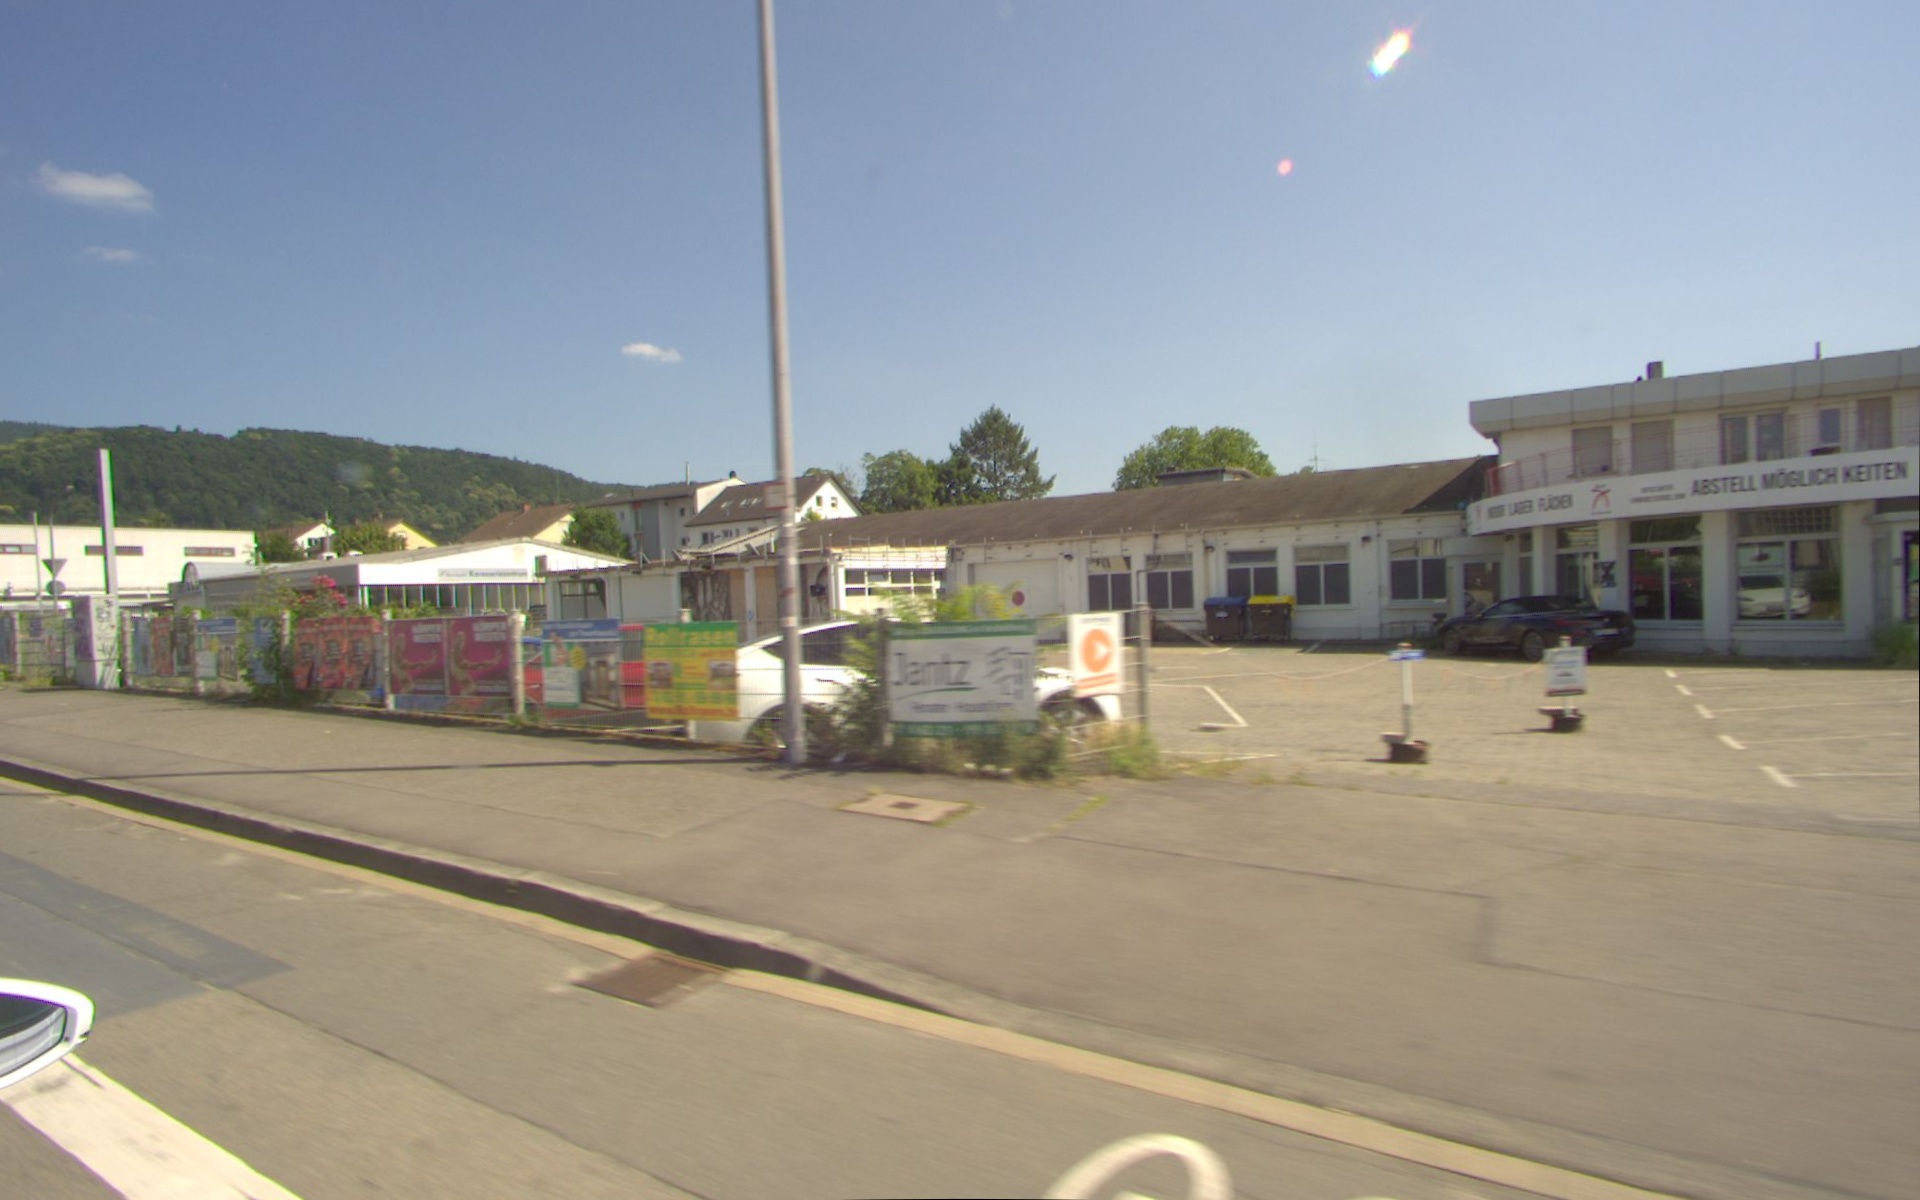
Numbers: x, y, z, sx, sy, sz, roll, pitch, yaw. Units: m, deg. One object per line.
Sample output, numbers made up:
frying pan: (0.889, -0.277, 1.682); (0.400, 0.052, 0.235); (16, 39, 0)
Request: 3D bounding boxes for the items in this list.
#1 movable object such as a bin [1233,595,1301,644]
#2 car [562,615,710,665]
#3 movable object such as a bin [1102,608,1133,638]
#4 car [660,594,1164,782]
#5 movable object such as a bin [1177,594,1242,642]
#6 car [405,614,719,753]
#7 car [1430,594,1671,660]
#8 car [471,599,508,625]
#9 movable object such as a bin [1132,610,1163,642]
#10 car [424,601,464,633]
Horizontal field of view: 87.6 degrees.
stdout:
movable object such as a bin: (9.684, 0.595, 31.536); (1.797, 1.475, 1.569); (0, 1, 28)
car: (-10.673, 1.272, 33.294); (2.090, 1.417, 4.316); (0, 1, 35)
movable object such as a bin: (5.445, 0.790, 34.593); (0.862, 1.005, 0.745); (0, 1, 28)
car: (-0.574, 0.870, 10.677); (4.956, 1.640, 2.023); (-1, -4, -16)
movable object such as a bin: (8.076, 0.573, 32.413); (1.728, 1.475, 1.569); (0, 1, 28)
car: (-5.363, 1.052, 13.904); (3.763, 1.638, 1.889); (-1, 1, -18)
car: (12.799, 0.596, 22.091); (1.861, 1.307, 4.548); (0, -1, -16)
car: (-27.999, 0.738, 59.521); (1.768, 1.483, 3.807); (0, -2, -29)
movable object such as a bin: (6.374, 0.884, 34.057); (0.862, 1.050, 0.745); (0, 1, 28)
car: (-29.304, 0.935, 56.843); (1.970, 1.669, 3.980); (0, 1, -28)
